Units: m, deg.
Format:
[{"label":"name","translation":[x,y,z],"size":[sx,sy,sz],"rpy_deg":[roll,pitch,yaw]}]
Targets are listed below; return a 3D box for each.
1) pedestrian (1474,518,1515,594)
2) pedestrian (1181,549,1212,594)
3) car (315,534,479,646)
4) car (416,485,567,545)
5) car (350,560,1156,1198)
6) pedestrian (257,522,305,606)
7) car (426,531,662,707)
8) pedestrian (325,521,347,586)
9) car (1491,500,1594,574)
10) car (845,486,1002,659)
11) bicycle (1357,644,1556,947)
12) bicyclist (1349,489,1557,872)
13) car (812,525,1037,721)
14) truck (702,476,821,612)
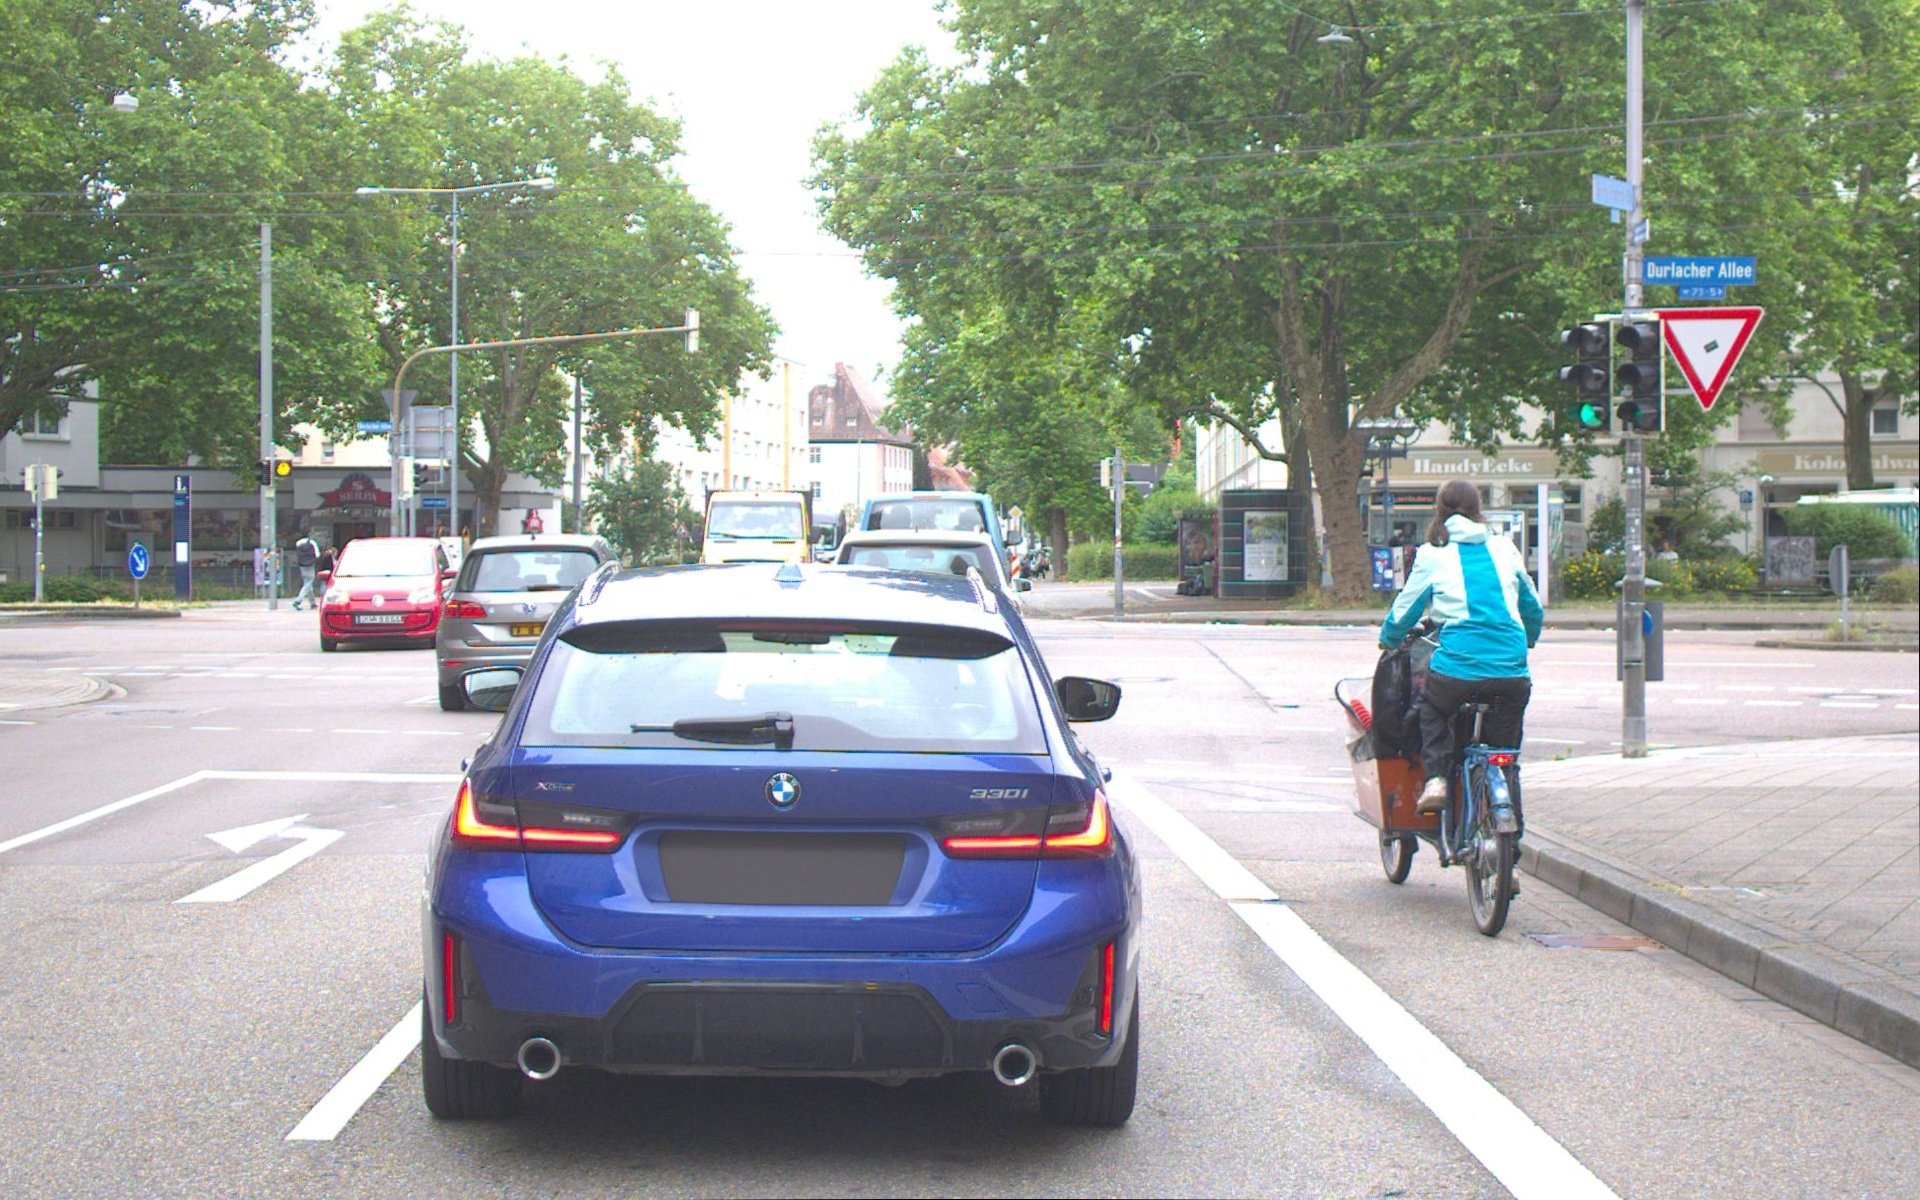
[{"label":"pedestrian","translation":[12.430,-1.026,79.949],"size":[0.784,1.737,0.925],"rpy_deg":[0,1,-2]},{"label":"pedestrian","translation":[6.828,-0.826,99.272],"size":[0.853,1.310,0.763],"rpy_deg":[0,1,0]},{"label":"car","translation":[-7.535,-0.160,46.262],"size":[1.649,1.442,3.511],"rpy_deg":[0,1,-1]},{"label":"car","translation":[-13.922,-2.498,102.181],"size":[3.987,1.700,2.000],"rpy_deg":[0,1,-34]},{"label":"car","translation":[-0.487,0.606,9.935],"size":[1.815,1.400,4.320],"rpy_deg":[0,1,-1]},{"label":"pedestrian","translation":[-14.275,-0.765,72.310],"size":[0.676,1.765,0.724],"rpy_deg":[1,1,41]},{"label":"car","translation":[-3.788,0.127,31.852],"size":[1.732,1.519,4.000],"rpy_deg":[0,1,-1]},{"label":"pedestrian","translation":[-17.044,-1.280,93.896],"size":[0.571,1.765,0.515],"rpy_deg":[0,1,-8]},{"label":"car","translation":[17.636,-1.899,103.972],"size":[2.177,2.193,3.995],"rpy_deg":[0,1,24]},{"label":"car","translation":[-0.445,-0.357,41.866],"size":[1.815,1.998,4.000],"rpy_deg":[0,1,-1]},{"label":"bicycle","translation":[2.032,0.764,14.282],"size":[0.494,1.094,2.139],"rpy_deg":[0,1,-1]},{"label":"bicyclist","translation":[2.007,0.308,14.106],"size":[0.686,1.512,1.058],"rpy_deg":[0,1,-1]},{"label":"car","translation":[-0.306,0.146,29.889],"size":[1.815,1.586,4.000],"rpy_deg":[0,1,-1]},{"label":"truck","translation":[-3.641,-1.060,63.825],"size":[2.074,2.400,5.463],"rpy_deg":[-1,1,-2]}]
